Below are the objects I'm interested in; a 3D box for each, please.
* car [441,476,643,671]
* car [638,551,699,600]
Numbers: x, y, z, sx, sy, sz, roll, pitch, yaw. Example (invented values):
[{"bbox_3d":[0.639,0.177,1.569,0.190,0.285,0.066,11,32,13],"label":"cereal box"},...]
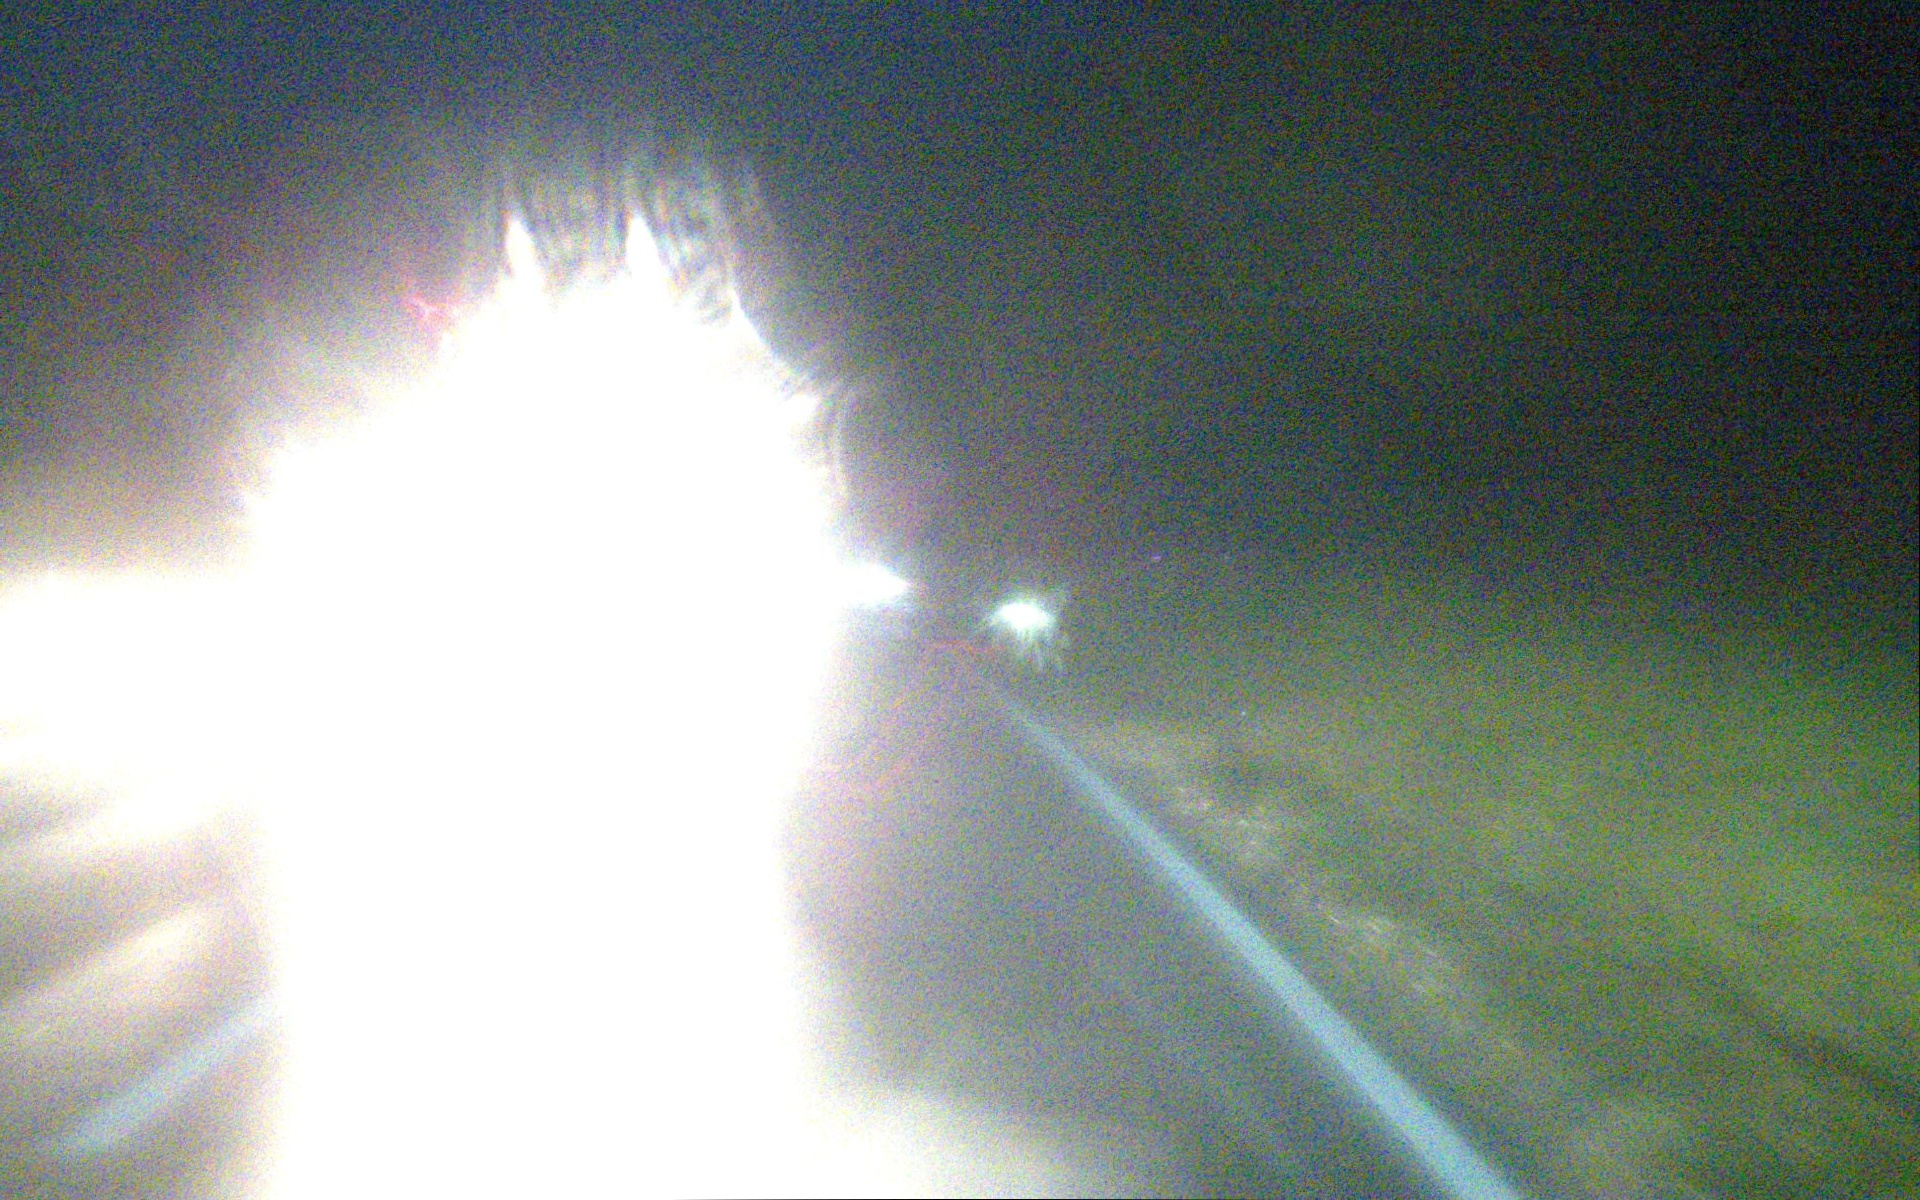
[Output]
[{"bbox_3d":[-5.137,-0.374,42.939,1.993,2.265,5.468,1,1,-2],"label":"car"},{"bbox_3d":[-9.852,-0.846,116.597,1.925,1.569,4.348,1,1,-3],"label":"car"}]
